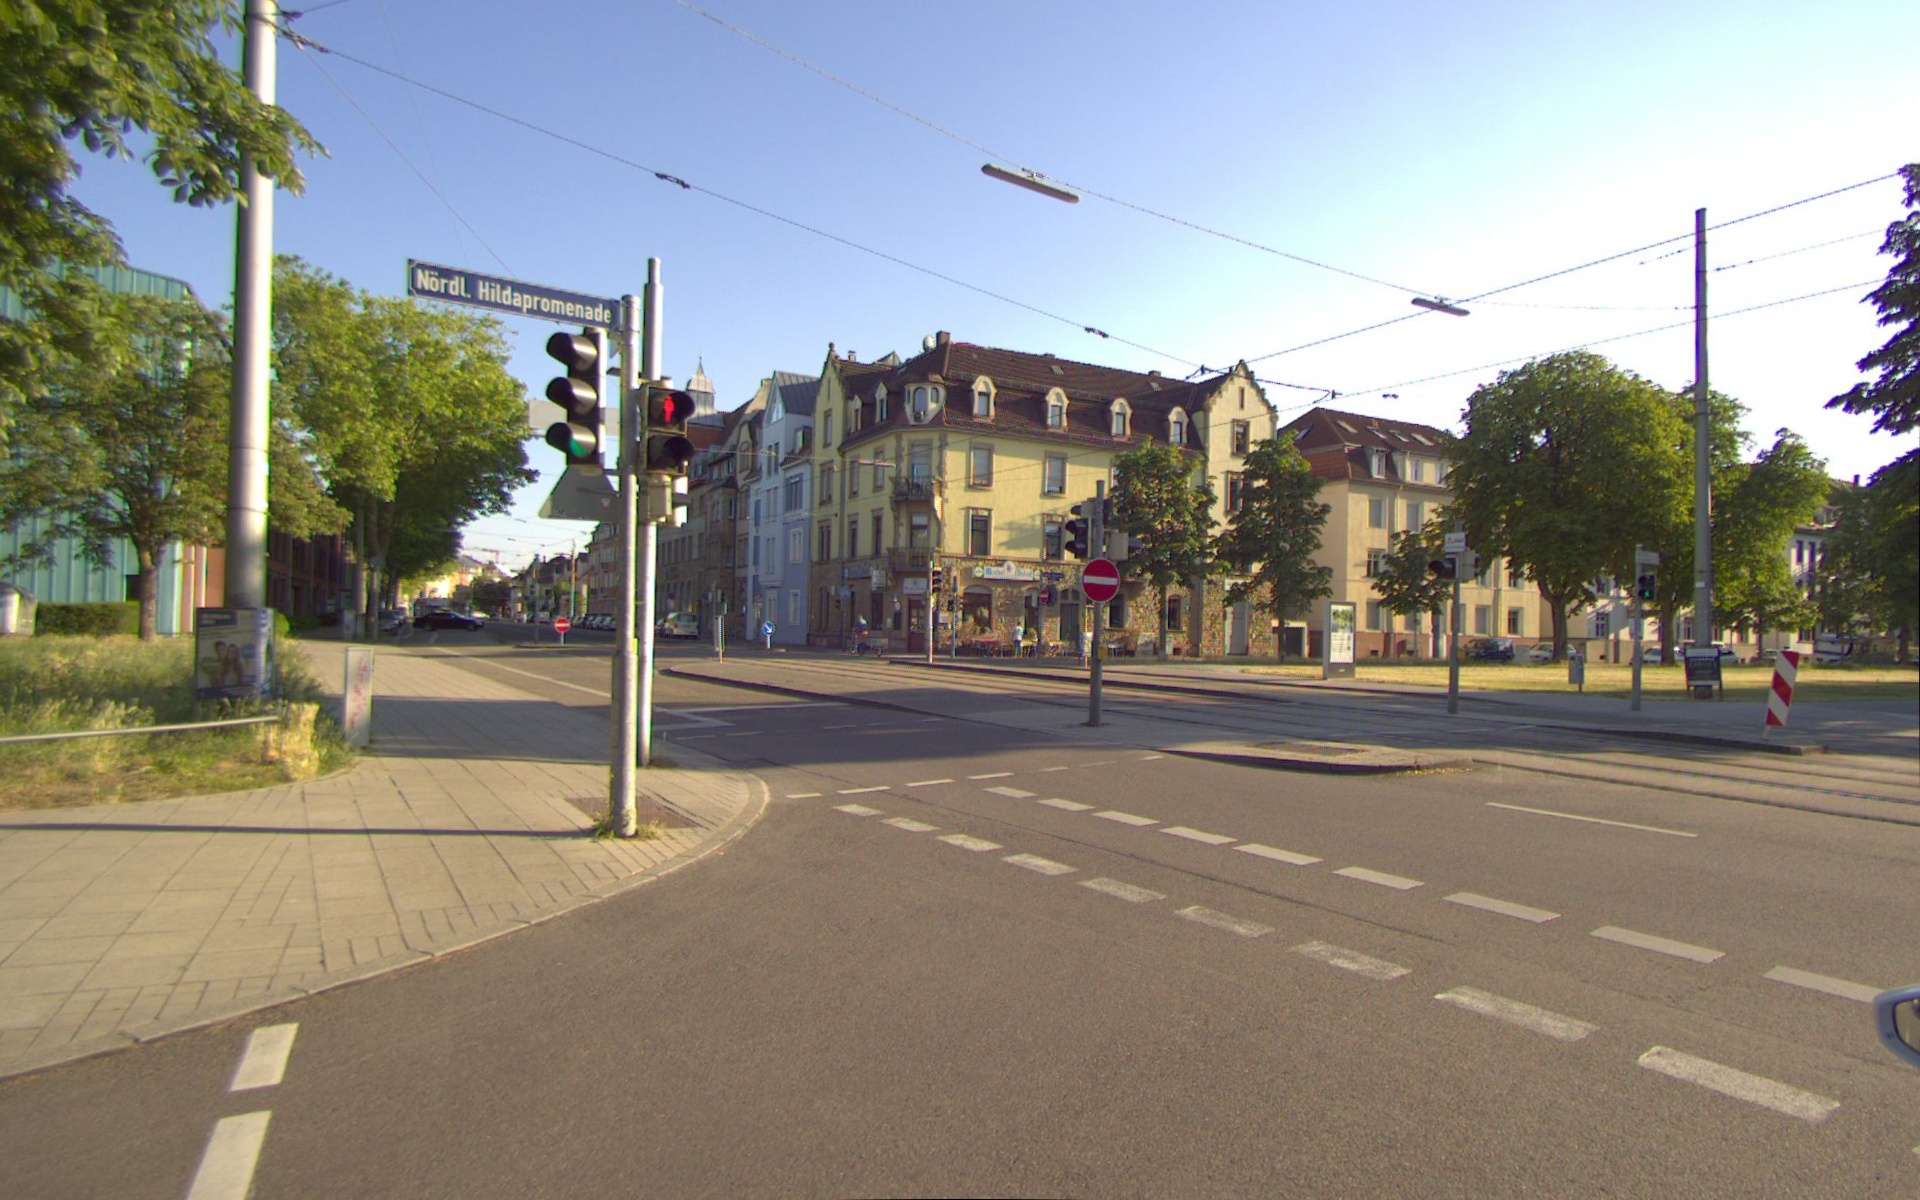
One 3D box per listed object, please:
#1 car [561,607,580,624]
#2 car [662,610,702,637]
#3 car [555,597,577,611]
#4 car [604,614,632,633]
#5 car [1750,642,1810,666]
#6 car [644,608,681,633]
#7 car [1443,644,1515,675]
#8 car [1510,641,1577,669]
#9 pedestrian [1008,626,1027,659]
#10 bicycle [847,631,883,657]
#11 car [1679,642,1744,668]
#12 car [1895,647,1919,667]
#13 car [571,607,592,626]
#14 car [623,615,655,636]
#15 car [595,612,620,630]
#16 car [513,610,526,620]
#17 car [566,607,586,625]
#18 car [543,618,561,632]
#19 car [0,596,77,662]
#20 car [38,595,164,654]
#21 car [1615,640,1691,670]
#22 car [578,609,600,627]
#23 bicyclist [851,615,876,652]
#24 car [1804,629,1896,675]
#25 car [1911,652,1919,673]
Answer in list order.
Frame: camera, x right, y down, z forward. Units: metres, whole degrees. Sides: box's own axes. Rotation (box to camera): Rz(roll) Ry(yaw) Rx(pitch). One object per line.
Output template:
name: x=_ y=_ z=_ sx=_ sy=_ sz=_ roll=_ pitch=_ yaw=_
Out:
car: x=-50.932 y=2.031 z=131.244 sx=1.753 sy=2.040 sz=3.797 roll=3 pitch=0 yaw=-29
car: x=-20.946 y=1.736 z=75.663 sx=2.008 sy=1.760 sz=3.749 roll=3 pitch=0 yaw=-29
car: x=-54.758 y=0.598 z=139.666 sx=1.908 sy=1.715 sz=3.959 roll=3 pitch=1 yaw=-36
car: x=-34.962 y=2.418 z=102.683 sx=1.976 sy=1.693 sz=3.749 roll=3 pitch=0 yaw=-29
car: x=66.623 y=4.406 z=81.592 sx=4.509 sy=1.681 sz=1.987 roll=3 pitch=0 yaw=-25
car: x=-23.924 y=1.646 z=80.785 sx=1.976 sy=1.763 sz=3.969 roll=2 pitch=0 yaw=-29
car: x=33.955 y=3.870 z=65.718 sx=4.254 sy=1.759 sz=1.987 roll=3 pitch=0 yaw=-25
car: x=39.669 y=3.726 z=68.314 sx=3.947 sy=1.681 sz=1.987 roll=3 pitch=0 yaw=-25
pedestrian: x=2.951 y=2.157 z=51.422 sx=0.674 sy=1.646 sz=0.613 roll=3 pitch=1 yaw=-29
bicycle: x=-4.578 y=2.095 z=47.957 sx=0.862 sy=1.176 sz=3.068 roll=3 pitch=-2 yaw=-21
car: x=50.231 y=3.663 z=67.136 sx=4.365 sy=1.575 sz=1.788 roll=2 pitch=1 yaw=-29
car: x=87.910 y=5.280 z=91.872 sx=4.316 sy=1.681 sz=1.987 roll=3 pitch=0 yaw=-25
car: x=-45.964 y=1.957 z=122.009 sx=1.802 sy=2.040 sz=3.931 roll=3 pitch=0 yaw=-29
car: x=-29.581 y=2.310 z=92.501 sx=1.976 sy=1.693 sz=3.749 roll=3 pitch=0 yaw=-29
car: x=-37.742 y=2.201 z=107.451 sx=1.813 sy=1.692 sz=3.918 roll=3 pitch=0 yaw=-29
car: x=-68.335 y=2.371 z=155.840 sx=1.531 sy=1.387 sz=3.434 roll=3 pitch=0 yaw=-29
car: x=-48.507 y=2.053 z=126.772 sx=1.786 sy=2.040 sz=3.779 roll=3 pitch=0 yaw=-28
car: x=-54.704 y=3.328 z=134.596 sx=1.757 sy=1.693 sz=3.749 roll=3 pitch=0 yaw=-29
car: x=-29.338 y=0.832 z=31.237 sx=1.946 sy=1.693 sz=5.177 roll=3 pitch=0 yaw=-32
car: x=-27.504 y=0.739 z=32.368 sx=1.976 sy=1.693 sz=5.184 roll=3 pitch=-1 yaw=-28
car: x=44.646 y=3.545 z=64.675 sx=4.509 sy=1.681 sz=1.987 roll=3 pitch=0 yaw=-25
car: x=-43.359 y=2.089 z=117.322 sx=1.778 sy=1.855 sz=3.762 roll=3 pitch=0 yaw=-29
bicyclist: x=-4.644 y=1.599 z=48.195 sx=0.862 sy=1.746 sz=1.143 roll=3 pitch=-2 yaw=-22
car: x=67.231 y=3.945 z=75.861 sx=7.751 sy=3.173 sz=2.383 roll=2 pitch=1 yaw=-27
car: x=80.708 y=5.287 z=82.817 sx=4.259 sy=1.696 sz=1.873 roll=3 pitch=0 yaw=-26
